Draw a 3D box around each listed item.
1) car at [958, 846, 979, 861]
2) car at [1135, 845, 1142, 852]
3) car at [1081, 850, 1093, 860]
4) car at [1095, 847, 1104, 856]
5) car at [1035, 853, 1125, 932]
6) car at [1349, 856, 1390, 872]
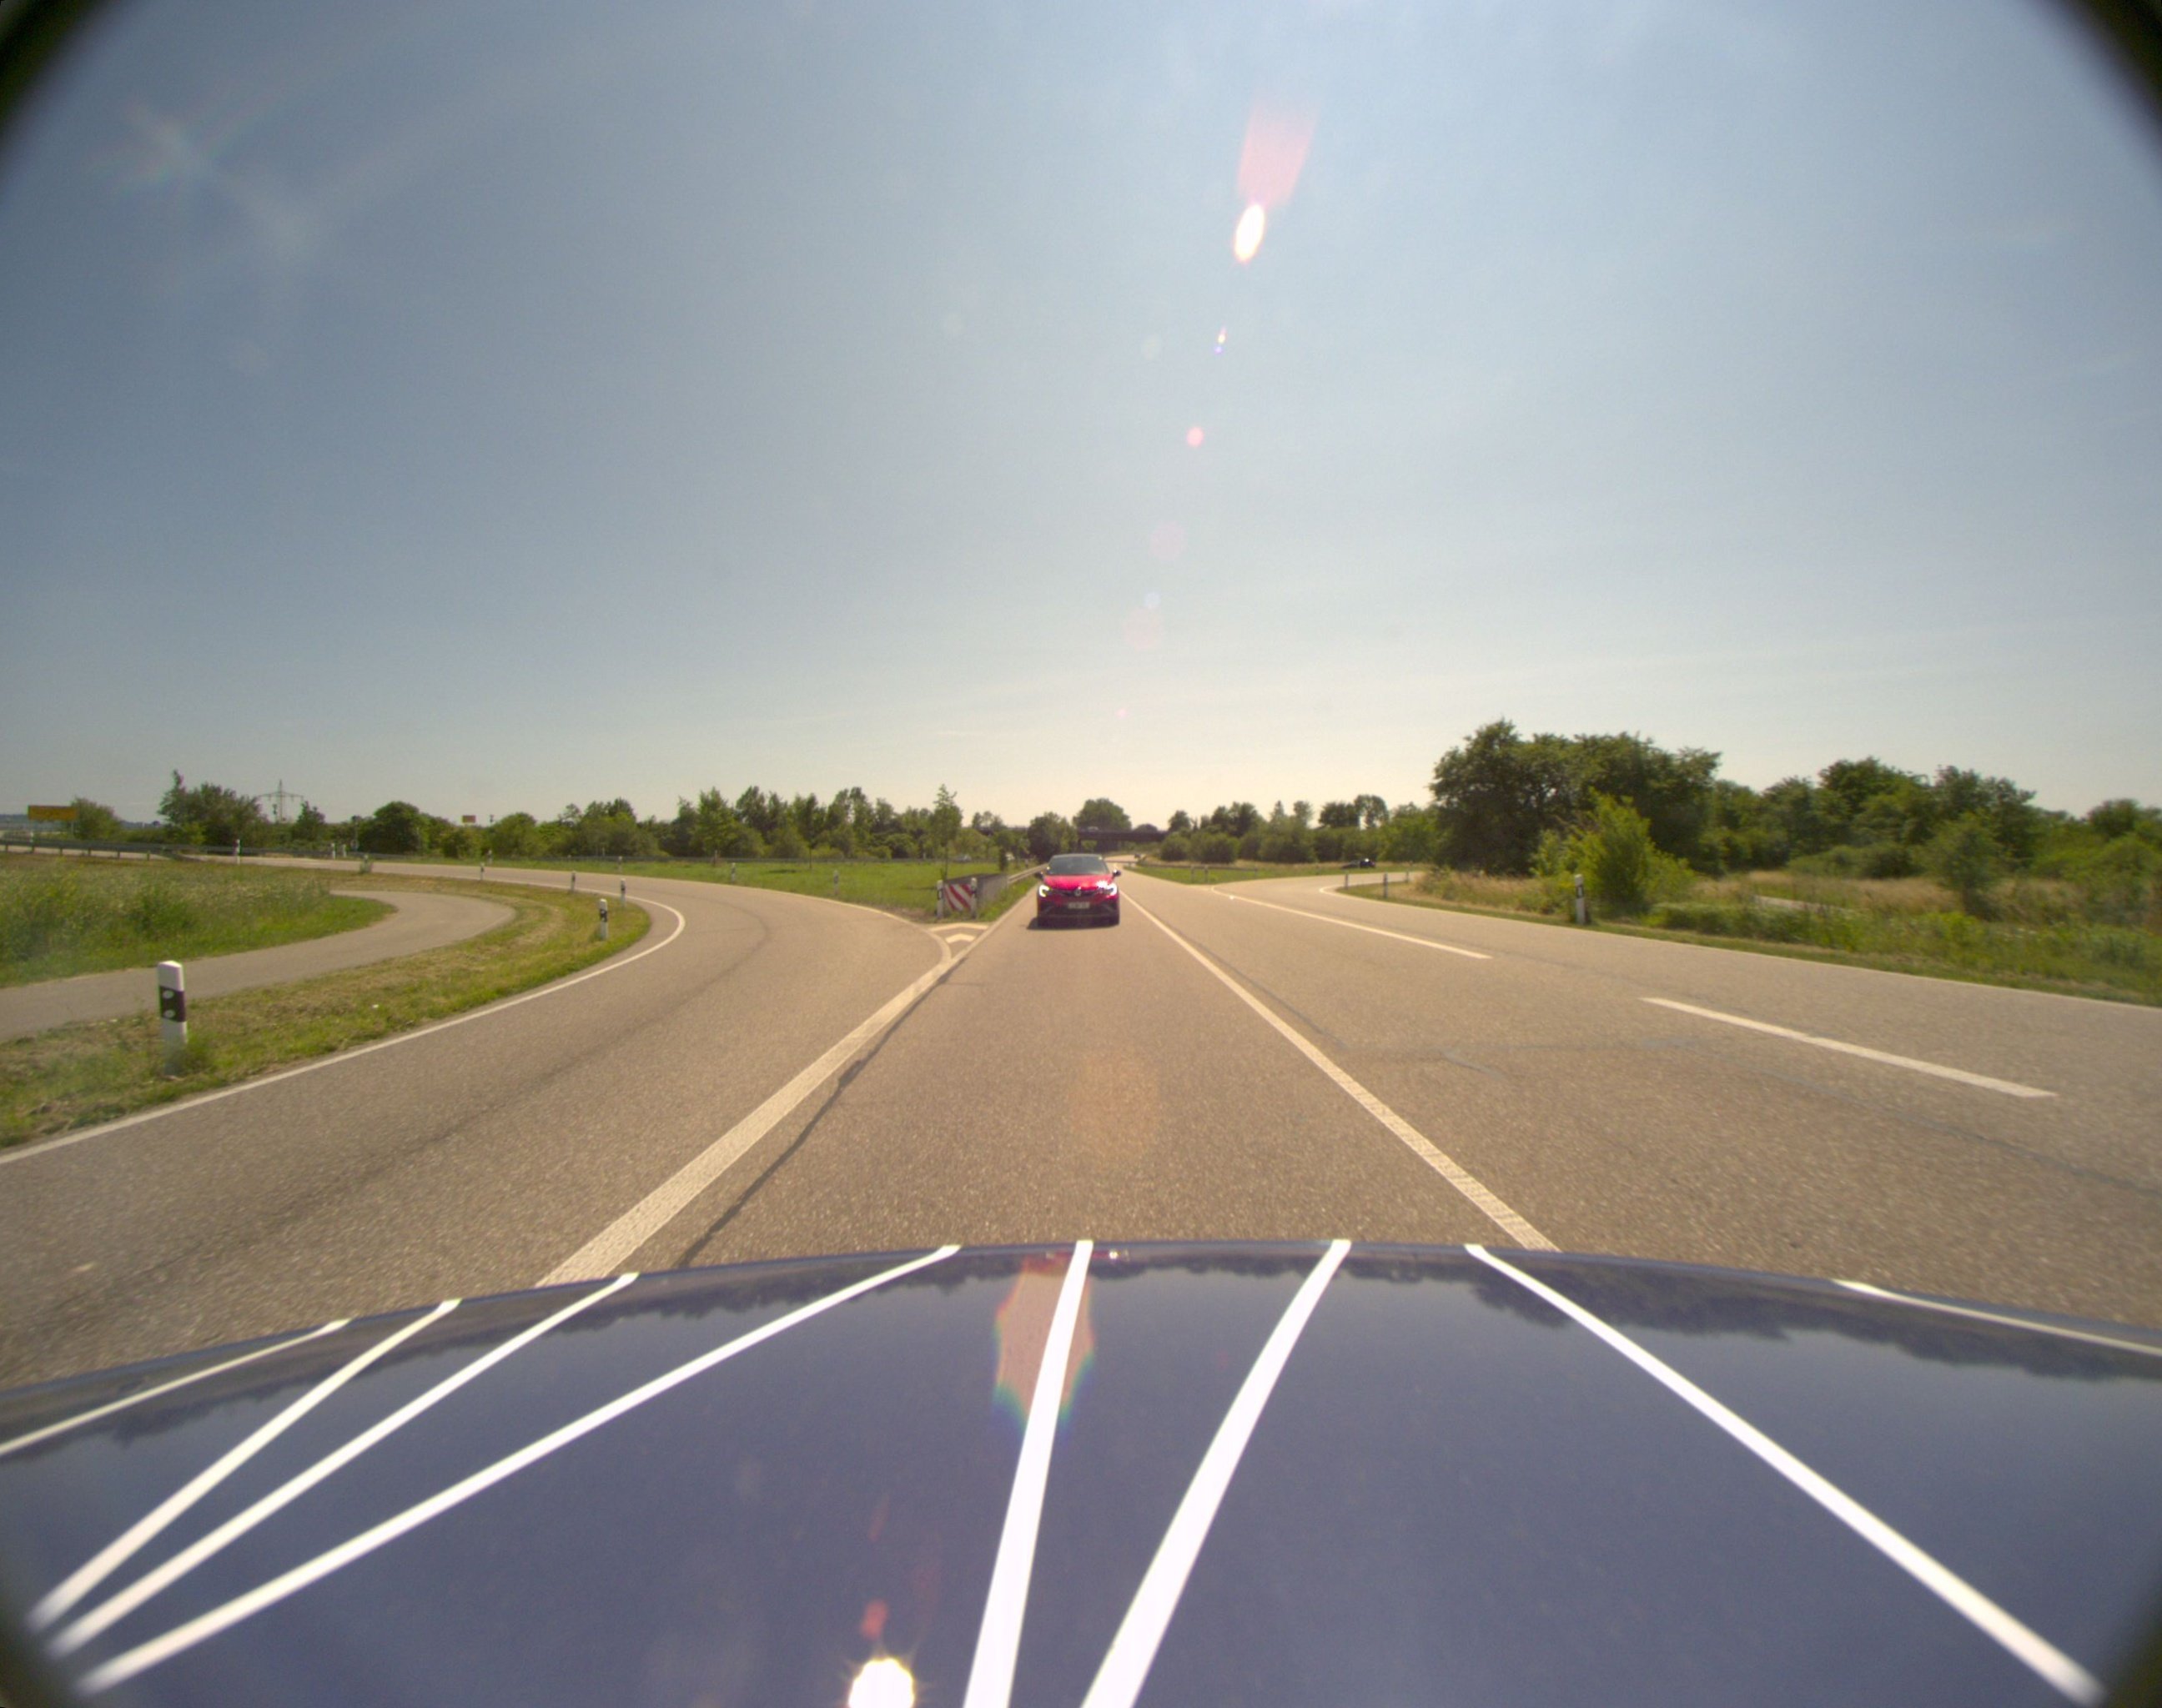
[{"bbox_3d":[-15.364,-0.025,104.168,1.793,2.002,3.724,1,1,9],"label":"car"},{"bbox_3d":[18.163,-1.725,239.787,1.998,2.002,4.001,1,1,4],"label":"car"},{"bbox_3d":[1.036,0.097,131.944,1.998,1.696,3.999,1,1,0],"label":"car"},{"bbox_3d":[4.285,-0.611,176.234,1.998,2.002,4.000,1,1,3],"label":"car"},{"bbox_3d":[-0.016,0.802,18.234,1.837,1.587,4.721,-1,1,0],"label":"car"},{"bbox_3d":[31.528,1.089,83.030,4.139,1.548,1.891,1,1,20],"label":"car"}]
